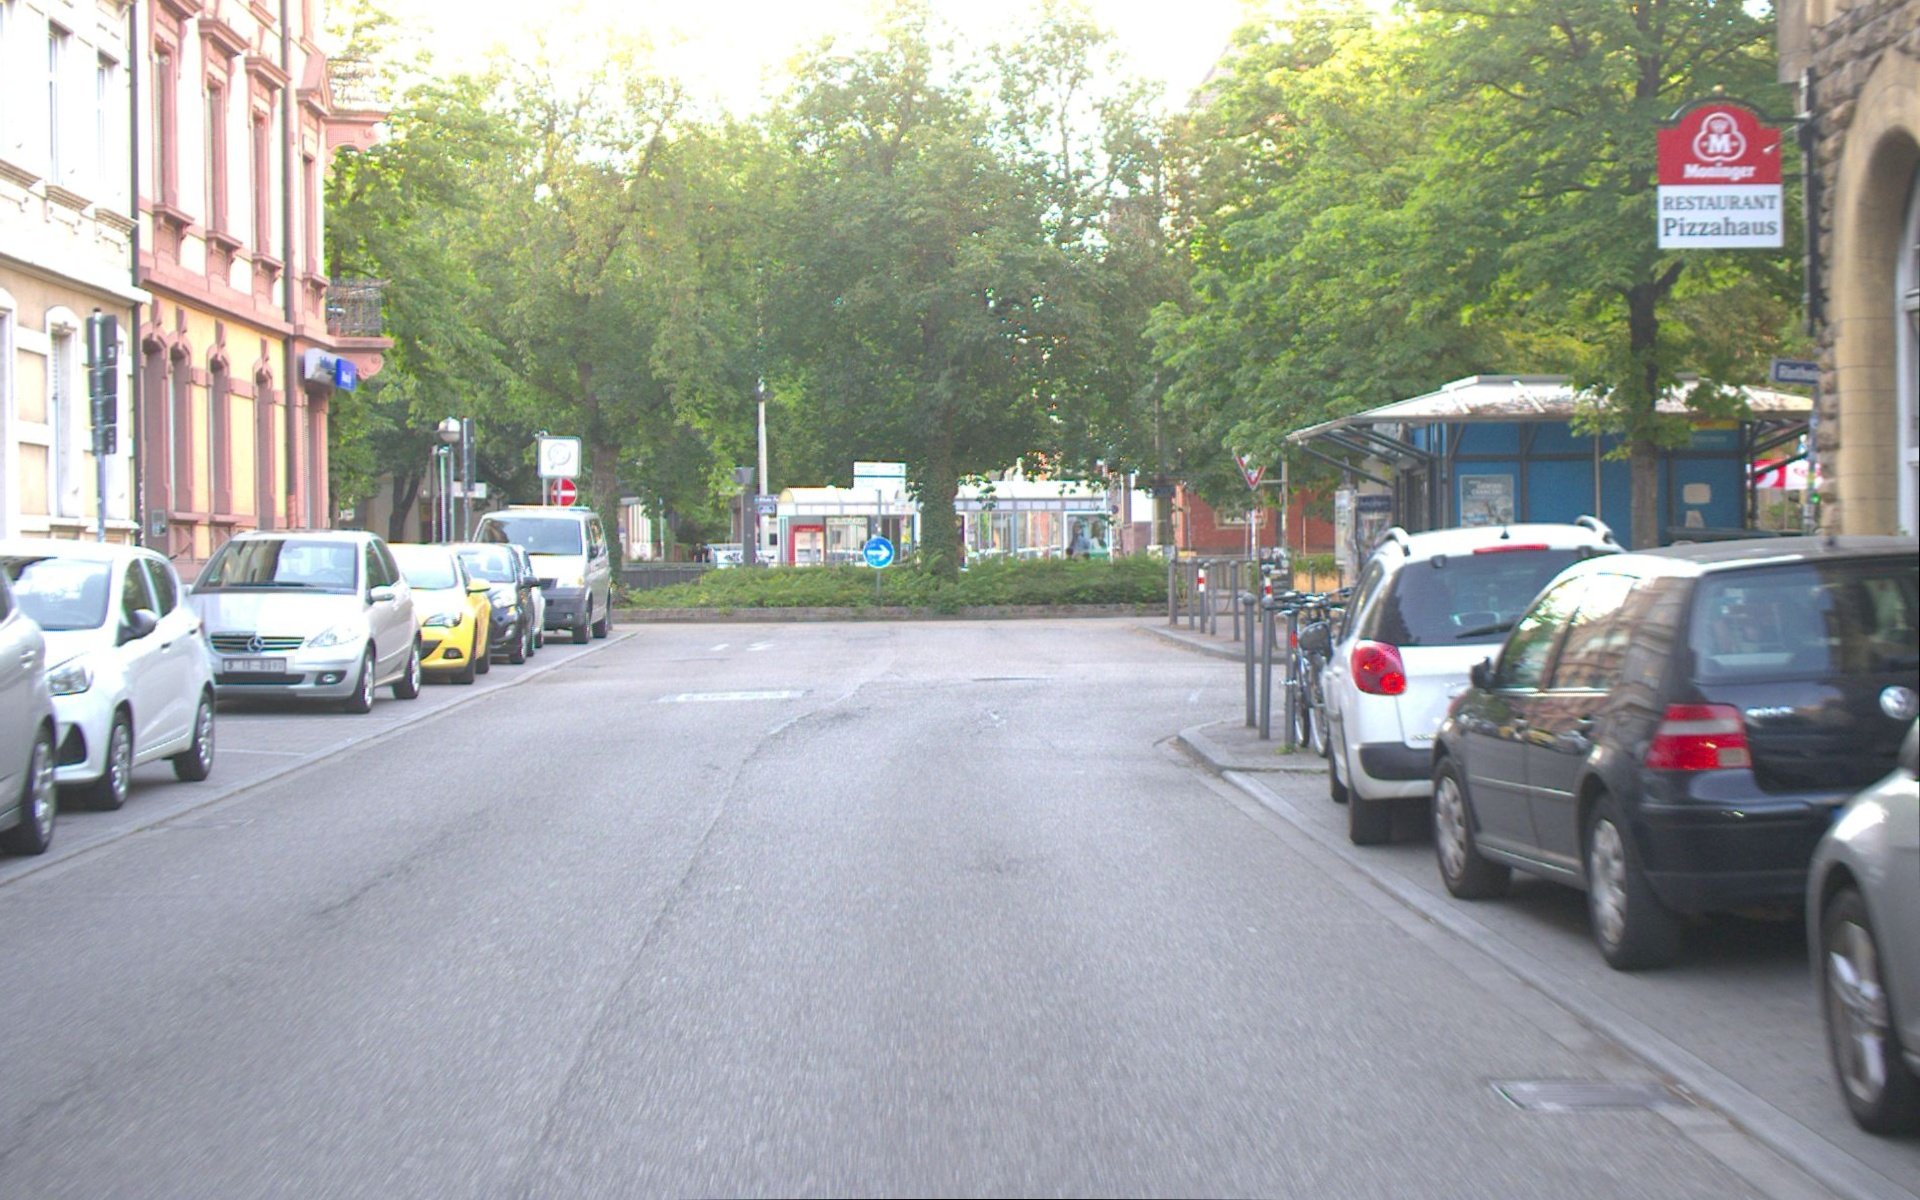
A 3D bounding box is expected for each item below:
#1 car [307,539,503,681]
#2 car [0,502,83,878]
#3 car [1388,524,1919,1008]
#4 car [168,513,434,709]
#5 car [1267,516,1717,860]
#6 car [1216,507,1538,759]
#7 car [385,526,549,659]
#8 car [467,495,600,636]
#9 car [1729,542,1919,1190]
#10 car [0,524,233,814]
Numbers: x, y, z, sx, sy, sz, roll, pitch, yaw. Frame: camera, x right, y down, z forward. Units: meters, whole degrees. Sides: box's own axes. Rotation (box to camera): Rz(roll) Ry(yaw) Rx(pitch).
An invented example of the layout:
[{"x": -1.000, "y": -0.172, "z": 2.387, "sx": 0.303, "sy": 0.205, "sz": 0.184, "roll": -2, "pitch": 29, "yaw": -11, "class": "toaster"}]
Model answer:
[{"x": -5.967, "y": 0.066, "z": 37.303, "sx": 1.698, "sy": 1.421, "sz": 4.023, "roll": 1, "pitch": 1, "yaw": -4, "class": "car"}, {"x": -5.145, "y": 0.408, "z": 14.937, "sx": 1.844, "sy": 1.653, "sz": 4.253, "roll": -1, "pitch": 1, "yaw": -4, "class": "car"}, {"x": 2.863, "y": 0.489, "z": 12.848, "sx": 1.676, "sy": 1.451, "sz": 3.801, "roll": -3, "pitch": 1, "yaw": -5, "class": "car"}, {"x": -5.875, "y": 0.058, "z": 31.046, "sx": 1.698, "sy": 1.615, "sz": 4.022, "roll": 1, "pitch": 1, "yaw": -2, "class": "car"}, {"x": 2.637, "y": 0.367, "z": 17.872, "sx": 1.676, "sy": 1.496, "sz": 3.901, "roll": -3, "pitch": 1, "yaw": 0, "class": "car"}, {"x": 2.786, "y": 0.166, "z": 23.740, "sx": 1.676, "sy": 1.496, "sz": 4.018, "roll": -3, "pitch": 1, "yaw": 0, "class": "car"}, {"x": -6.154, "y": -0.124, "z": 43.230, "sx": 1.698, "sy": 1.547, "sz": 4.023, "roll": 1, "pitch": 1, "yaw": -4, "class": "car"}, {"x": -6.334, "y": -0.530, "z": 51.372, "sx": 1.810, "sy": 1.970, "sz": 4.187, "roll": 1, "pitch": 1, "yaw": -5, "class": "car"}, {"x": 3.013, "y": 0.588, "z": 7.133, "sx": 1.676, "sy": 1.451, "sz": 4.230, "roll": -3, "pitch": 1, "yaw": -2, "class": "car"}, {"x": -5.477, "y": 0.330, "z": 20.232, "sx": 1.698, "sy": 1.547, "sz": 3.569, "roll": 1, "pitch": 1, "yaw": -2, "class": "car"}]
